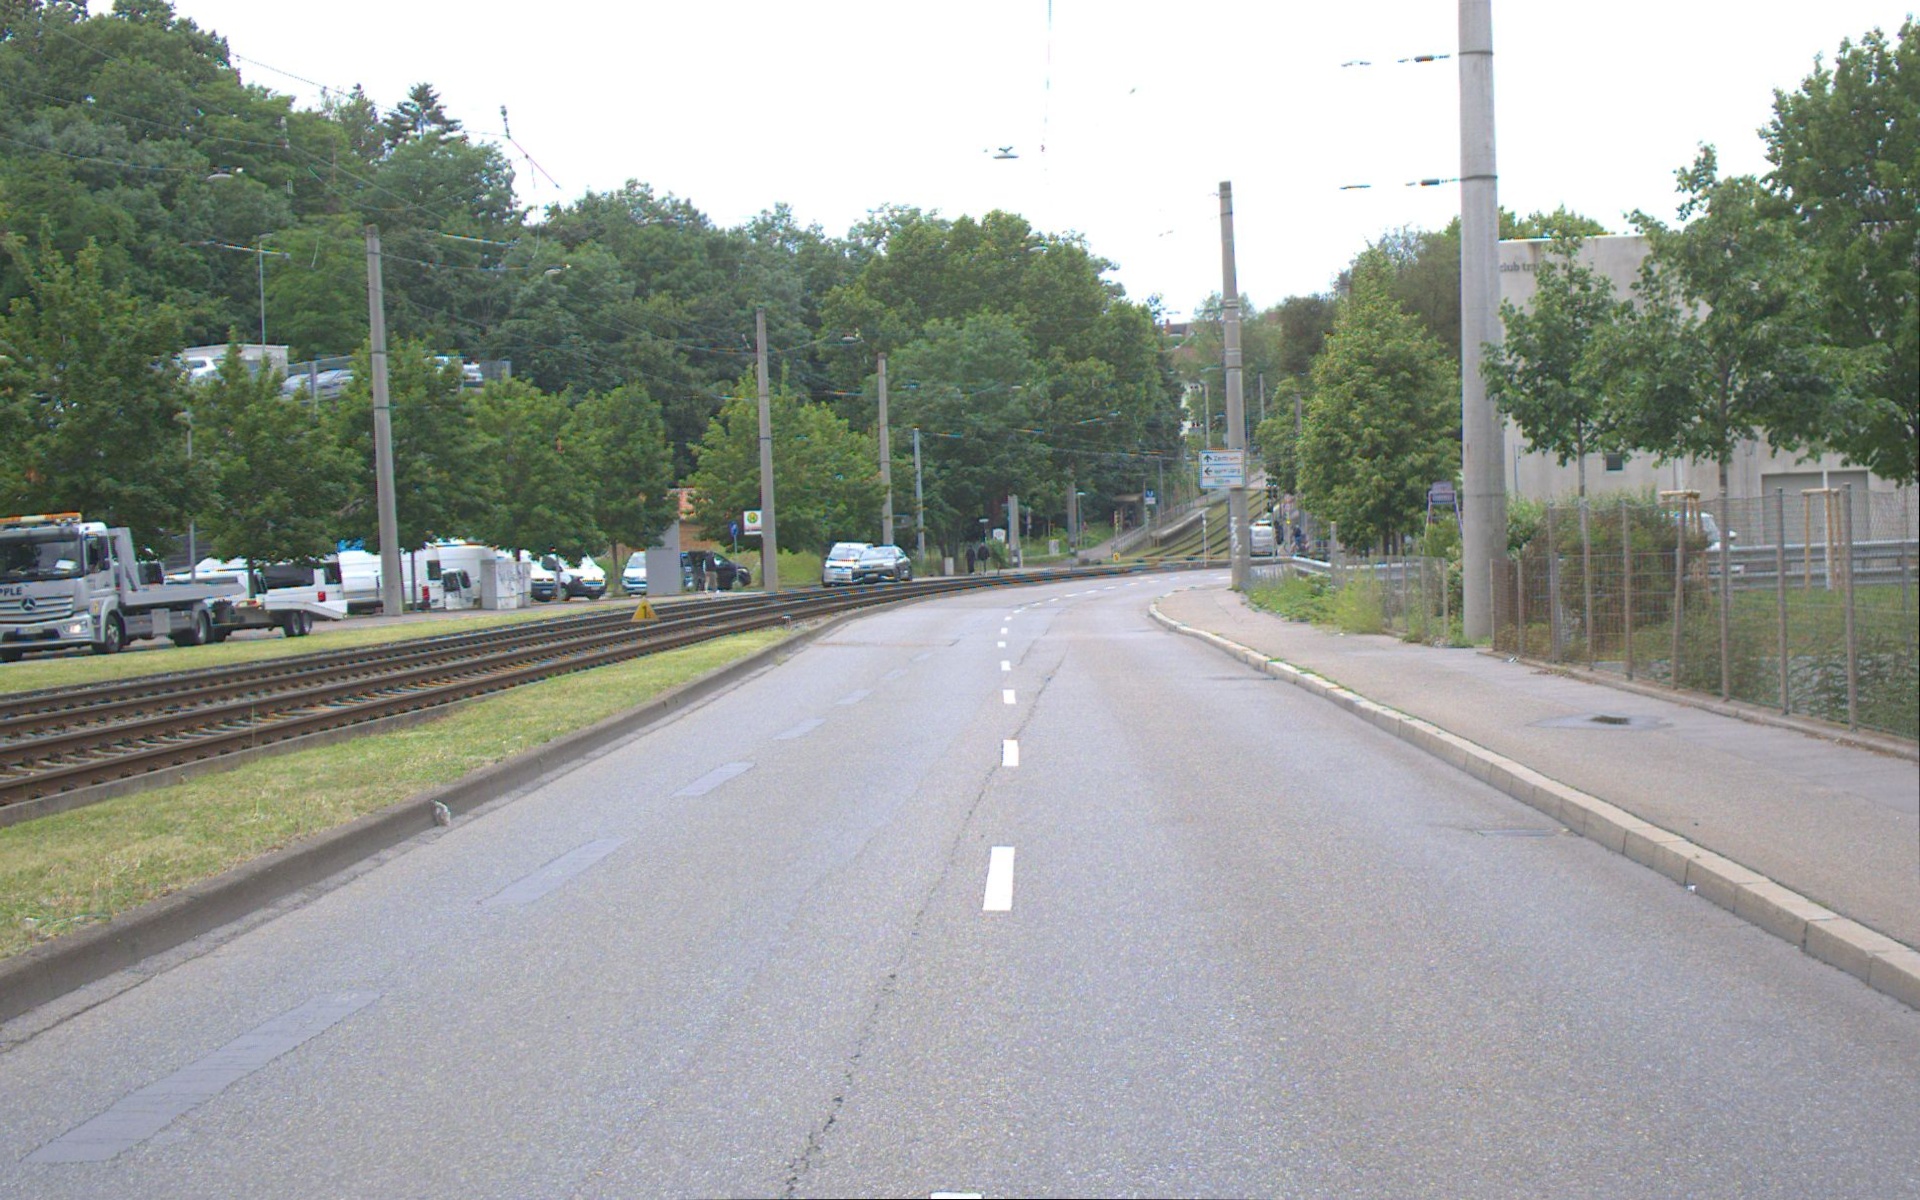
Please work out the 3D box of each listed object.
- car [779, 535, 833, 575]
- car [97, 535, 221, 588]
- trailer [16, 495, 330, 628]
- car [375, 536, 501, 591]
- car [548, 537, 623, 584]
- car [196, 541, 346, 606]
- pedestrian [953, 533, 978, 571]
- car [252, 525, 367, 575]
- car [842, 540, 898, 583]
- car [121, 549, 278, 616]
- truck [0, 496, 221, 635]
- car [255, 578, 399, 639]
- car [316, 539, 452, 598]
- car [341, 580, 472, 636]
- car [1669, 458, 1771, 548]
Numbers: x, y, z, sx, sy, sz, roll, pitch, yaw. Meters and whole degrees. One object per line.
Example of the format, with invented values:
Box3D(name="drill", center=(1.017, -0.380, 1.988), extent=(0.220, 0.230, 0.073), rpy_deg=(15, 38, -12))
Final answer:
Box3D(name="car", center=(-6.719, -1.990, 150.513), extent=(1.993, 1.634, 4.000), rpy_deg=(-1, 1, 2))
Box3D(name="car", center=(-28.844, -1.391, 123.880), extent=(4.128, 1.700, 1.834), rpy_deg=(-1, -2, -6))
Box3D(name="trailer", center=(-16.591, -0.890, 73.377), extent=(2.893, 2.574, 9.991), rpy_deg=(-1, 1, 9))
Box3D(name="car", center=(-18.248, -1.272, 120.217), extent=(3.988, 1.700, 1.833), rpy_deg=(-2, -2, 8))
Box3D(name="car", center=(-15.577, -1.608, 143.002), extent=(1.829, 1.700, 4.140), rpy_deg=(-2, -2, 12))
Box3D(name="car", center=(-20.495, -0.784, 102.309), extent=(3.988, 1.700, 1.833), rpy_deg=(-2, -2, 8))
Box3D(name="pedestrian", center=(0.310, -2.597, 186.037), extent=(1.014, 2.007, 1.144), rpy_deg=(-2, -3, 18))
Box3D(name="car", center=(-24.597, -1.894, 130.052), extent=(4.128, 1.700, 1.834), rpy_deg=(-1, -2, -6))
Box3D(name="car", center=(-3.607, -1.561, 138.212), extent=(1.993, 1.634, 4.000), rpy_deg=(-1, 1, 2))
Box3D(name="car", center=(-21.817, -0.498, 98.672), extent=(3.988, 1.700, 1.833), rpy_deg=(-2, -2, 8))
Box3D(name="truck", center=(-17.385, -0.734, 68.320), extent=(2.884, 2.580, 6.909), rpy_deg=(-1, 1, 9))
Box3D(name="car", center=(-19.818, 0.269, 107.645), extent=(3.988, 1.700, 1.833), rpy_deg=(-2, 2, 8))
Box3D(name="car", center=(-18.875, -1.023, 112.654), extent=(3.988, 1.700, 1.833), rpy_deg=(-2, -2, 8))
Box3D(name="car", center=(-18.810, 0.283, 116.899), extent=(3.988, 1.700, 1.833), rpy_deg=(-2, -2, 8))
Box3D(name="car", center=(15.197, -1.942, 68.874), extent=(1.829, 1.700, 3.804), rpy_deg=(-2, 1, 11))
